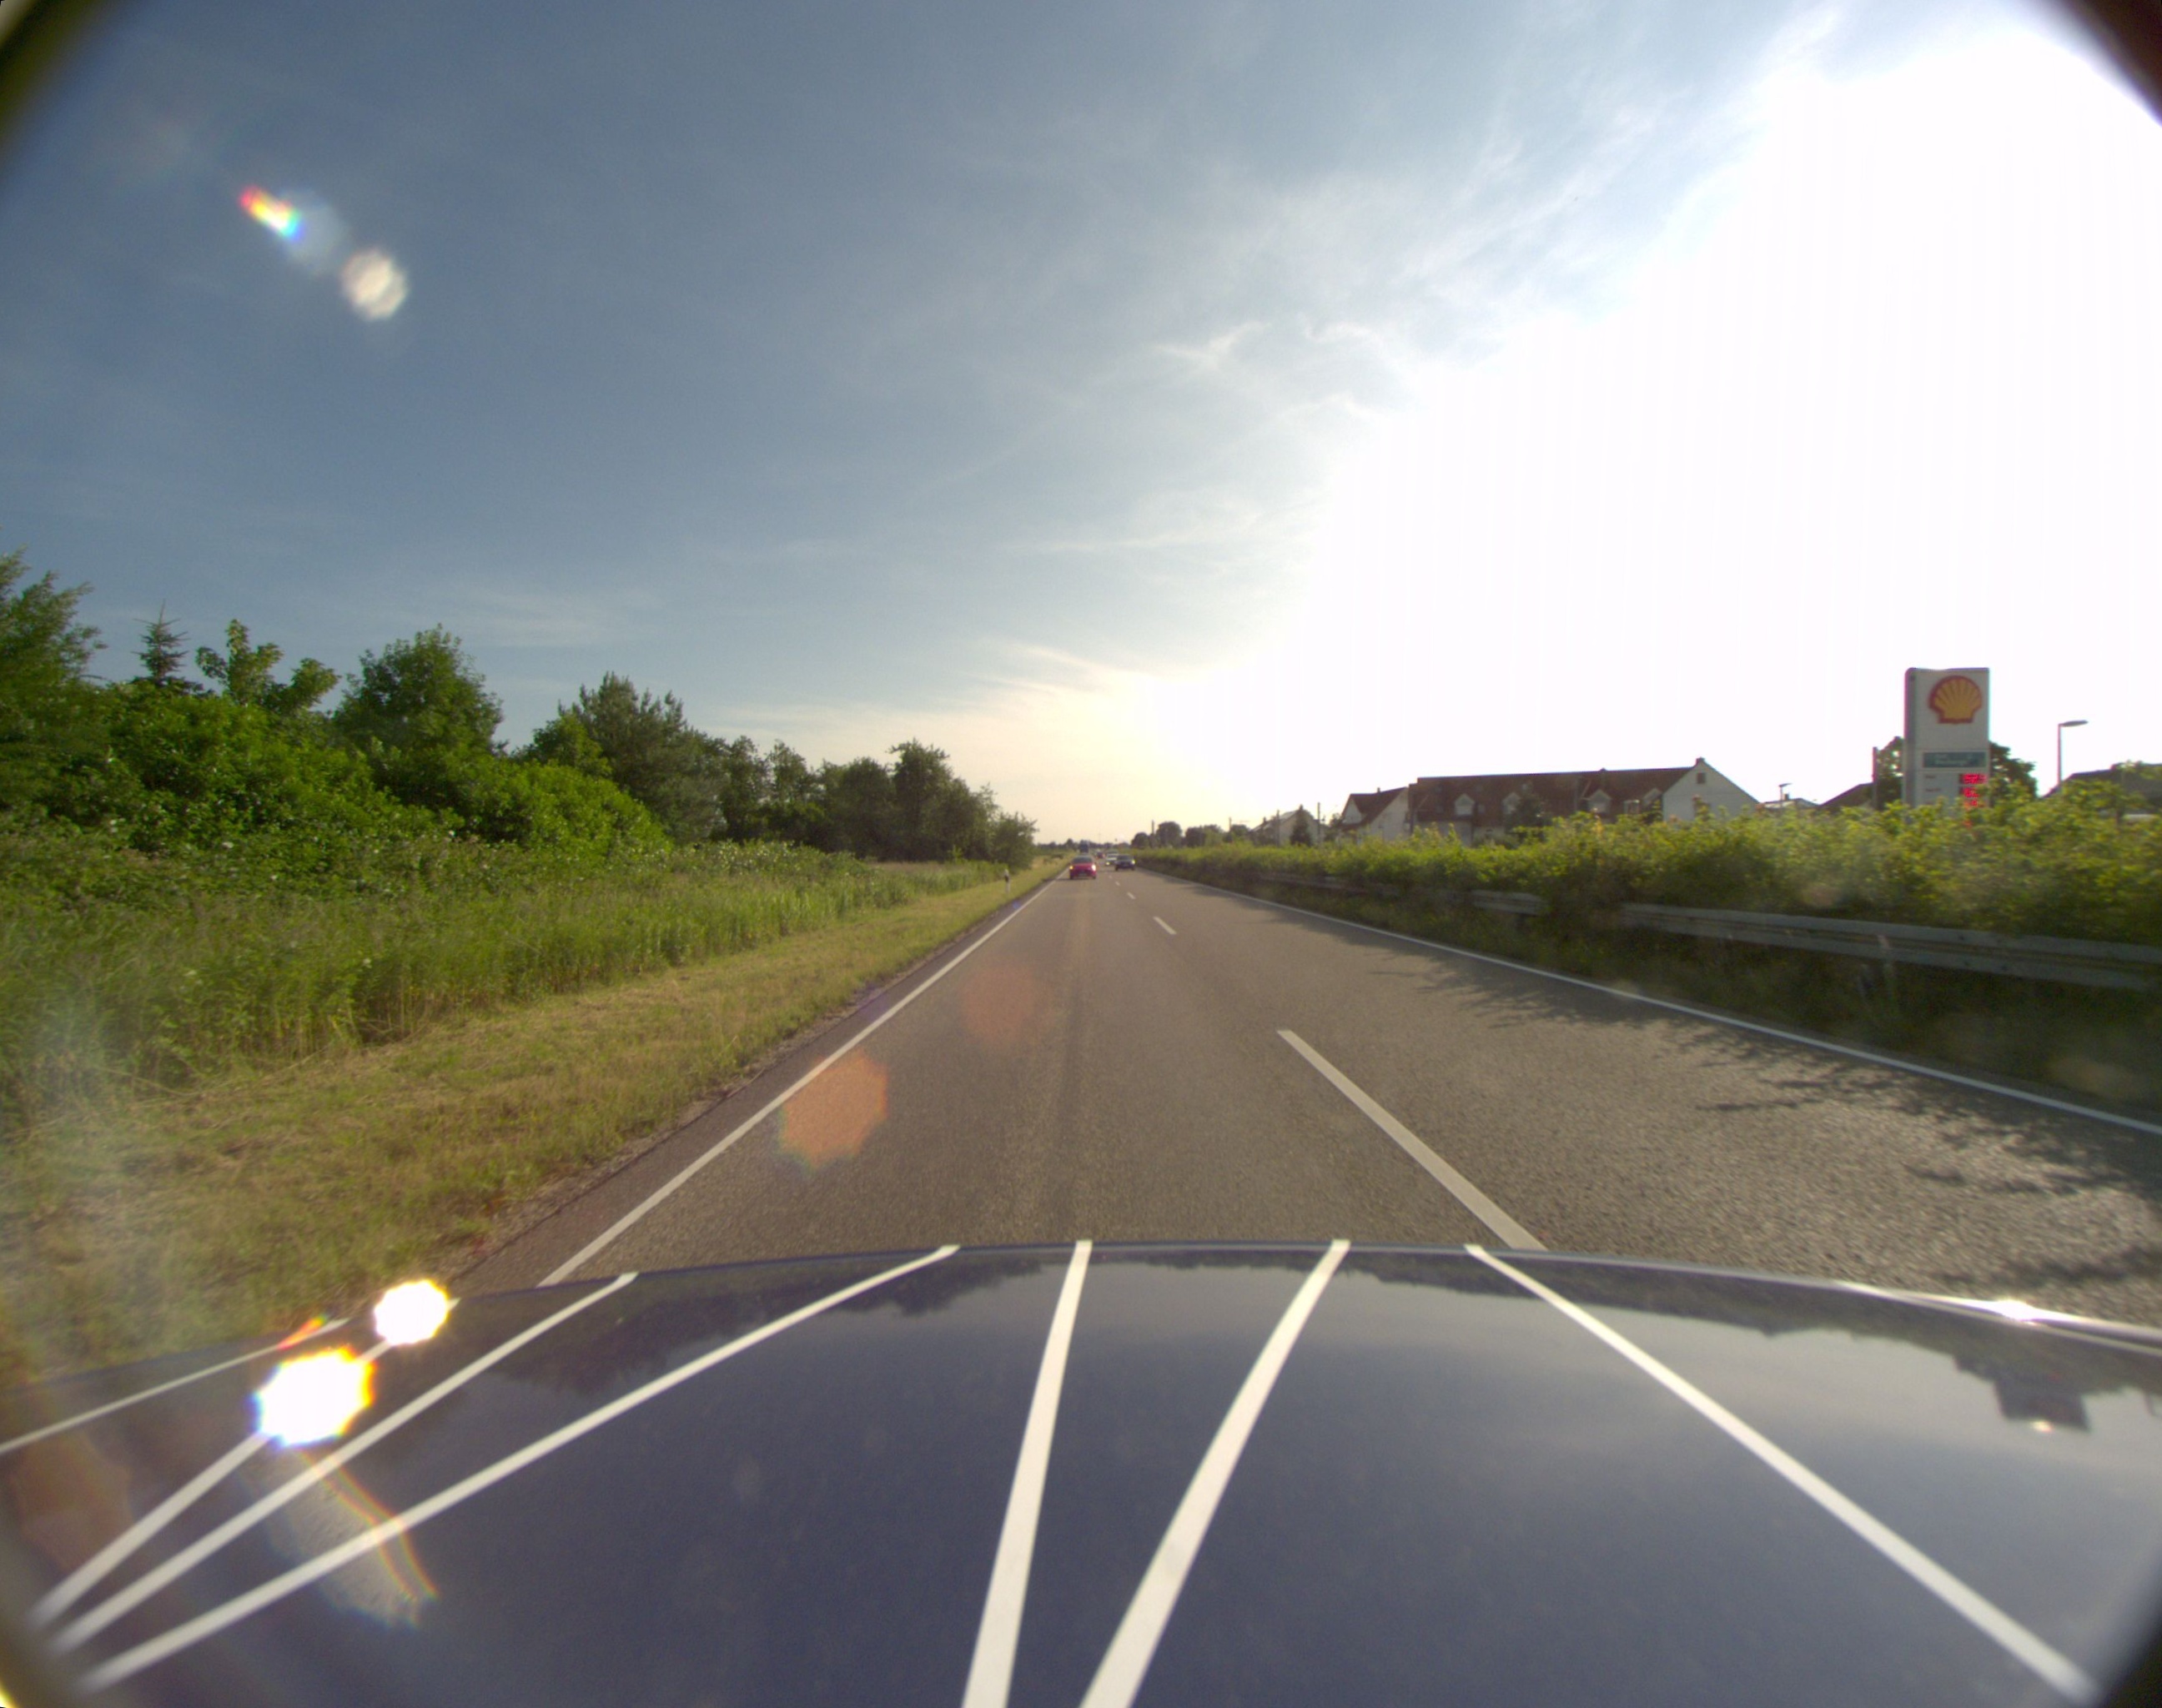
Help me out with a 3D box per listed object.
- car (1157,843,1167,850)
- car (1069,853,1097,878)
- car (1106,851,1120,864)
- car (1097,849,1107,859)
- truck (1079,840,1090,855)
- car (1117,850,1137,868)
[{"bbox_3d":[20.955,-1.889,196.682,1.998,1.740,3.999,-2,1,0],"label":"car"},{"bbox_3d":[0.175,0.748,49.892,1.735,1.467,4.000,-2,1,1],"label":"car"},{"bbox_3d":[3.873,0.442,92.859,1.636,1.442,4.000,-2,1,1],"label":"car"},{"bbox_3d":[4.555,-0.061,166.123,1.998,2.002,4.000,-2,0,1],"label":"car"},{"bbox_3d":[1.058,-1.788,210.848,2.850,3.897,10.103,-2,1,1],"label":"truck"},{"bbox_3d":[4.134,0.452,68.592,1.636,1.500,4.000,-2,1,1],"label":"car"}]
